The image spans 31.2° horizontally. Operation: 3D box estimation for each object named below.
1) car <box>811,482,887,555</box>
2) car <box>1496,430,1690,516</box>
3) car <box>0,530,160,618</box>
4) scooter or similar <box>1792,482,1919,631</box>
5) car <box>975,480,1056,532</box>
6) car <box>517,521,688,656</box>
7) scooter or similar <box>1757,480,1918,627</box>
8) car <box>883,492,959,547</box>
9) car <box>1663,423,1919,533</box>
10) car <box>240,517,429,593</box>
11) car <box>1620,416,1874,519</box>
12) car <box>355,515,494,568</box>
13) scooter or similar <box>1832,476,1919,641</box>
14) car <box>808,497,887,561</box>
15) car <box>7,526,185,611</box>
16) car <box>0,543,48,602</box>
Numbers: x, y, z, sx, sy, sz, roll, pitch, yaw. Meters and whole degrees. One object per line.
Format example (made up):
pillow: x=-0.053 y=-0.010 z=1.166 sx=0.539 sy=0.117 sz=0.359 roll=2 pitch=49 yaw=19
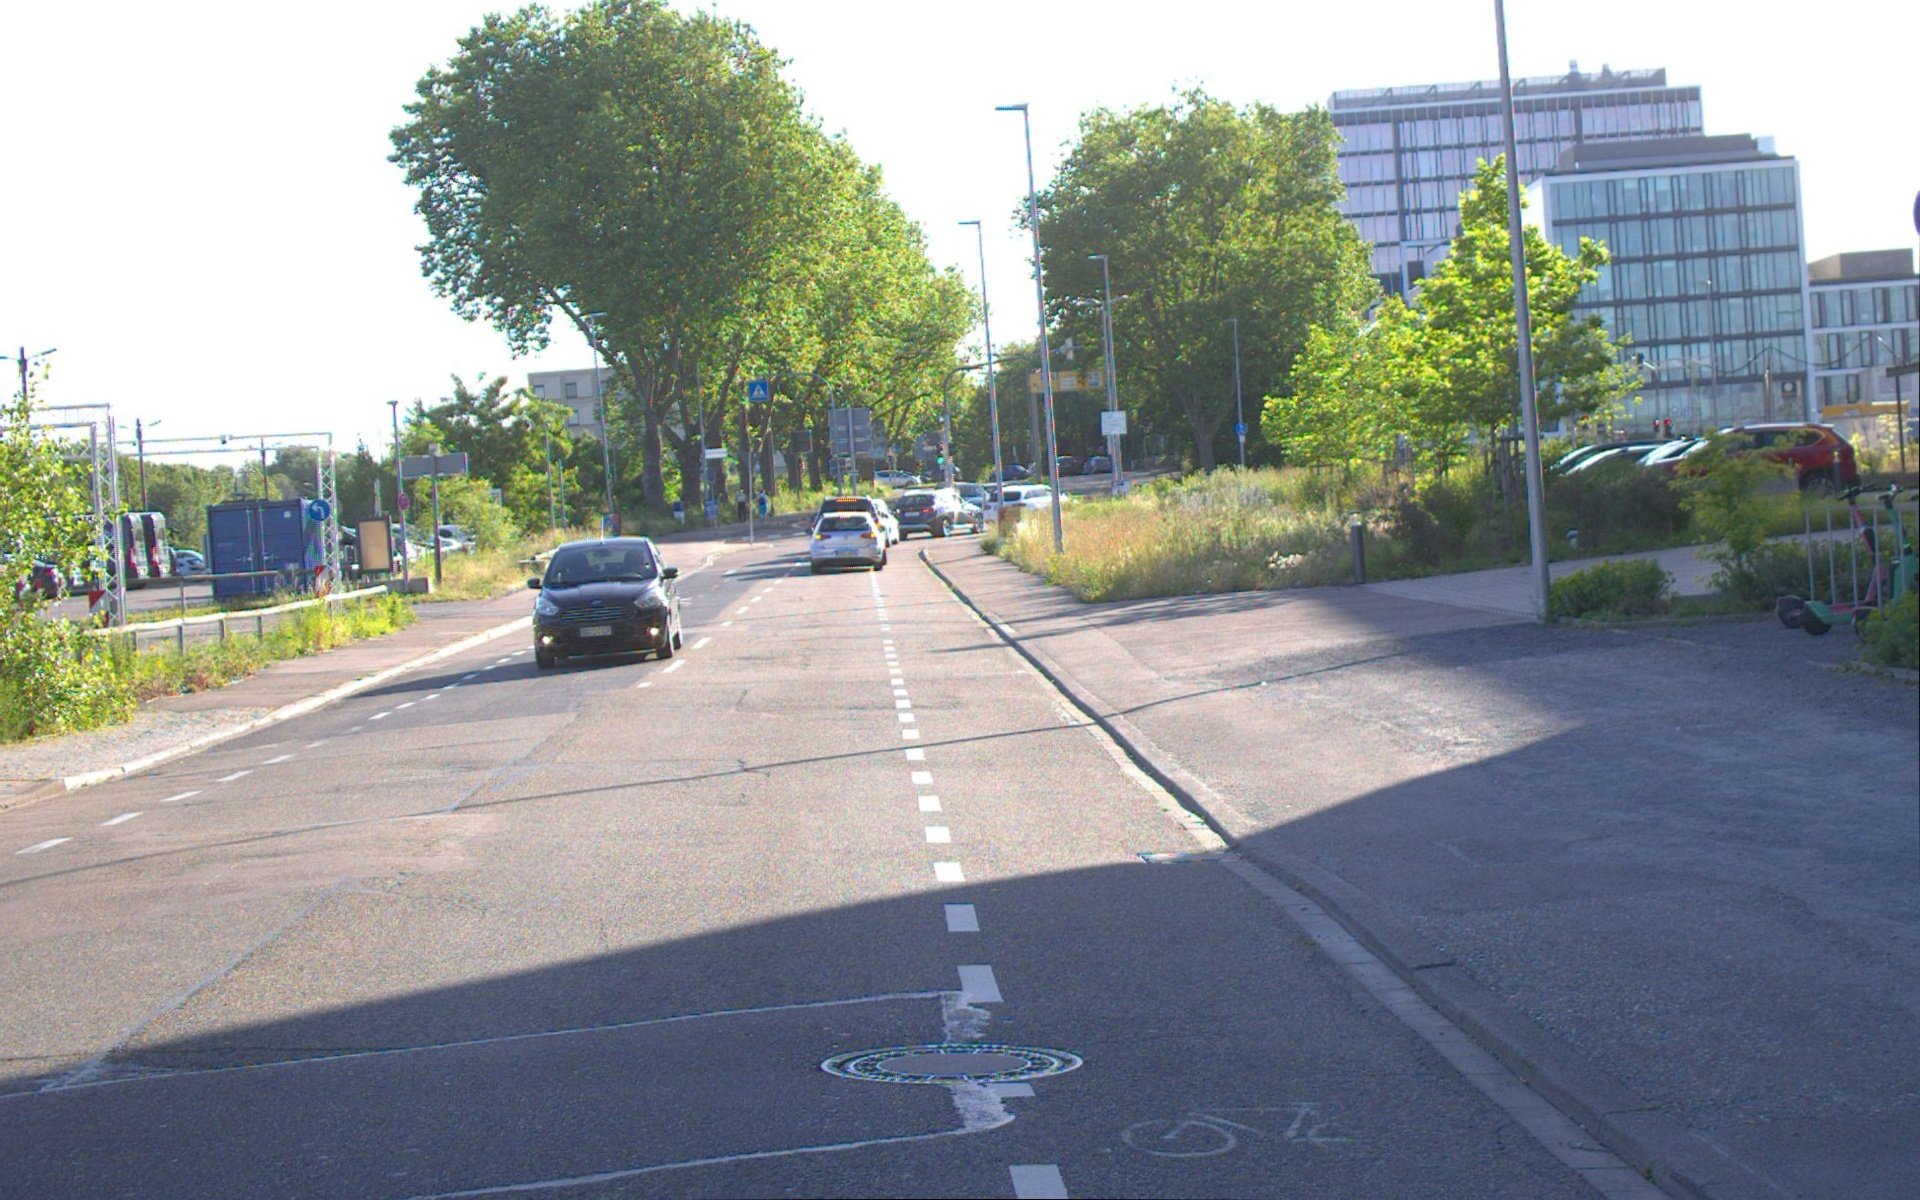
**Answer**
car: x=-2.892 y=-2.163 z=90.317 sx=1.819 sy=1.762 sz=4.630 roll=-3 pitch=2 yaw=0
car: x=14.165 y=-2.844 z=77.078 sx=3.987 sy=1.700 sz=1.852 roll=-3 pitch=2 yaw=2
car: x=-28.075 y=-0.818 z=108.606 sx=4.926 sy=2.451 sz=2.320 roll=-4 pitch=1 yaw=-2
scooter or similar: x=7.583 y=-0.368 z=28.440 sx=1.243 sy=1.151 sz=0.366 roll=-4 pitch=1 yaw=3
car: x=1.962 y=-3.241 z=119.413 sx=2.164 sy=1.678 sz=3.999 roll=-3 pitch=1 yaw=10
car: x=-4.453 y=-0.171 z=43.299 sx=1.654 sy=1.498 sz=4.000 roll=-5 pitch=1 yaw=0
scooter or similar: x=7.644 y=-0.411 z=29.958 sx=1.243 sy=1.191 sz=0.340 roll=-4 pitch=1 yaw=3
car: x=-1.273 y=-2.632 z=113.550 sx=2.164 sy=1.678 sz=4.000 roll=-3 pitch=1 yaw=3
car: x=13.768 y=-1.994 z=56.109 sx=4.184 sy=1.575 sz=1.852 roll=-3 pitch=2 yaw=2
car: x=-17.374 y=-1.253 z=95.583 sx=4.845 sy=1.828 sz=2.000 roll=-3 pitch=2 yaw=-2
car: x=14.387 y=-2.419 z=63.043 sx=4.184 sy=1.575 sz=1.851 roll=-3 pitch=-1 yaw=2
car: x=-18.360 y=-2.021 z=118.001 sx=4.425 sy=1.552 sz=1.878 roll=-3 pitch=2 yaw=-2
scooter or similar: x=7.585 y=-0.351 z=26.924 sx=1.340 sy=1.241 sz=0.424 roll=-4 pitch=1 yaw=3
car: x=-2.725 y=-1.749 z=84.092 sx=1.790 sy=1.415 sz=4.001 roll=-3 pitch=2 yaw=-1
car: x=-27.932 y=-1.048 z=111.289 sx=5.096 sy=2.451 sz=2.320 roll=-3 pitch=2 yaw=-2
car: x=-28.554 y=-0.712 z=98.453 sx=4.321 sy=1.612 sz=1.878 roll=-3 pitch=2 yaw=-2
